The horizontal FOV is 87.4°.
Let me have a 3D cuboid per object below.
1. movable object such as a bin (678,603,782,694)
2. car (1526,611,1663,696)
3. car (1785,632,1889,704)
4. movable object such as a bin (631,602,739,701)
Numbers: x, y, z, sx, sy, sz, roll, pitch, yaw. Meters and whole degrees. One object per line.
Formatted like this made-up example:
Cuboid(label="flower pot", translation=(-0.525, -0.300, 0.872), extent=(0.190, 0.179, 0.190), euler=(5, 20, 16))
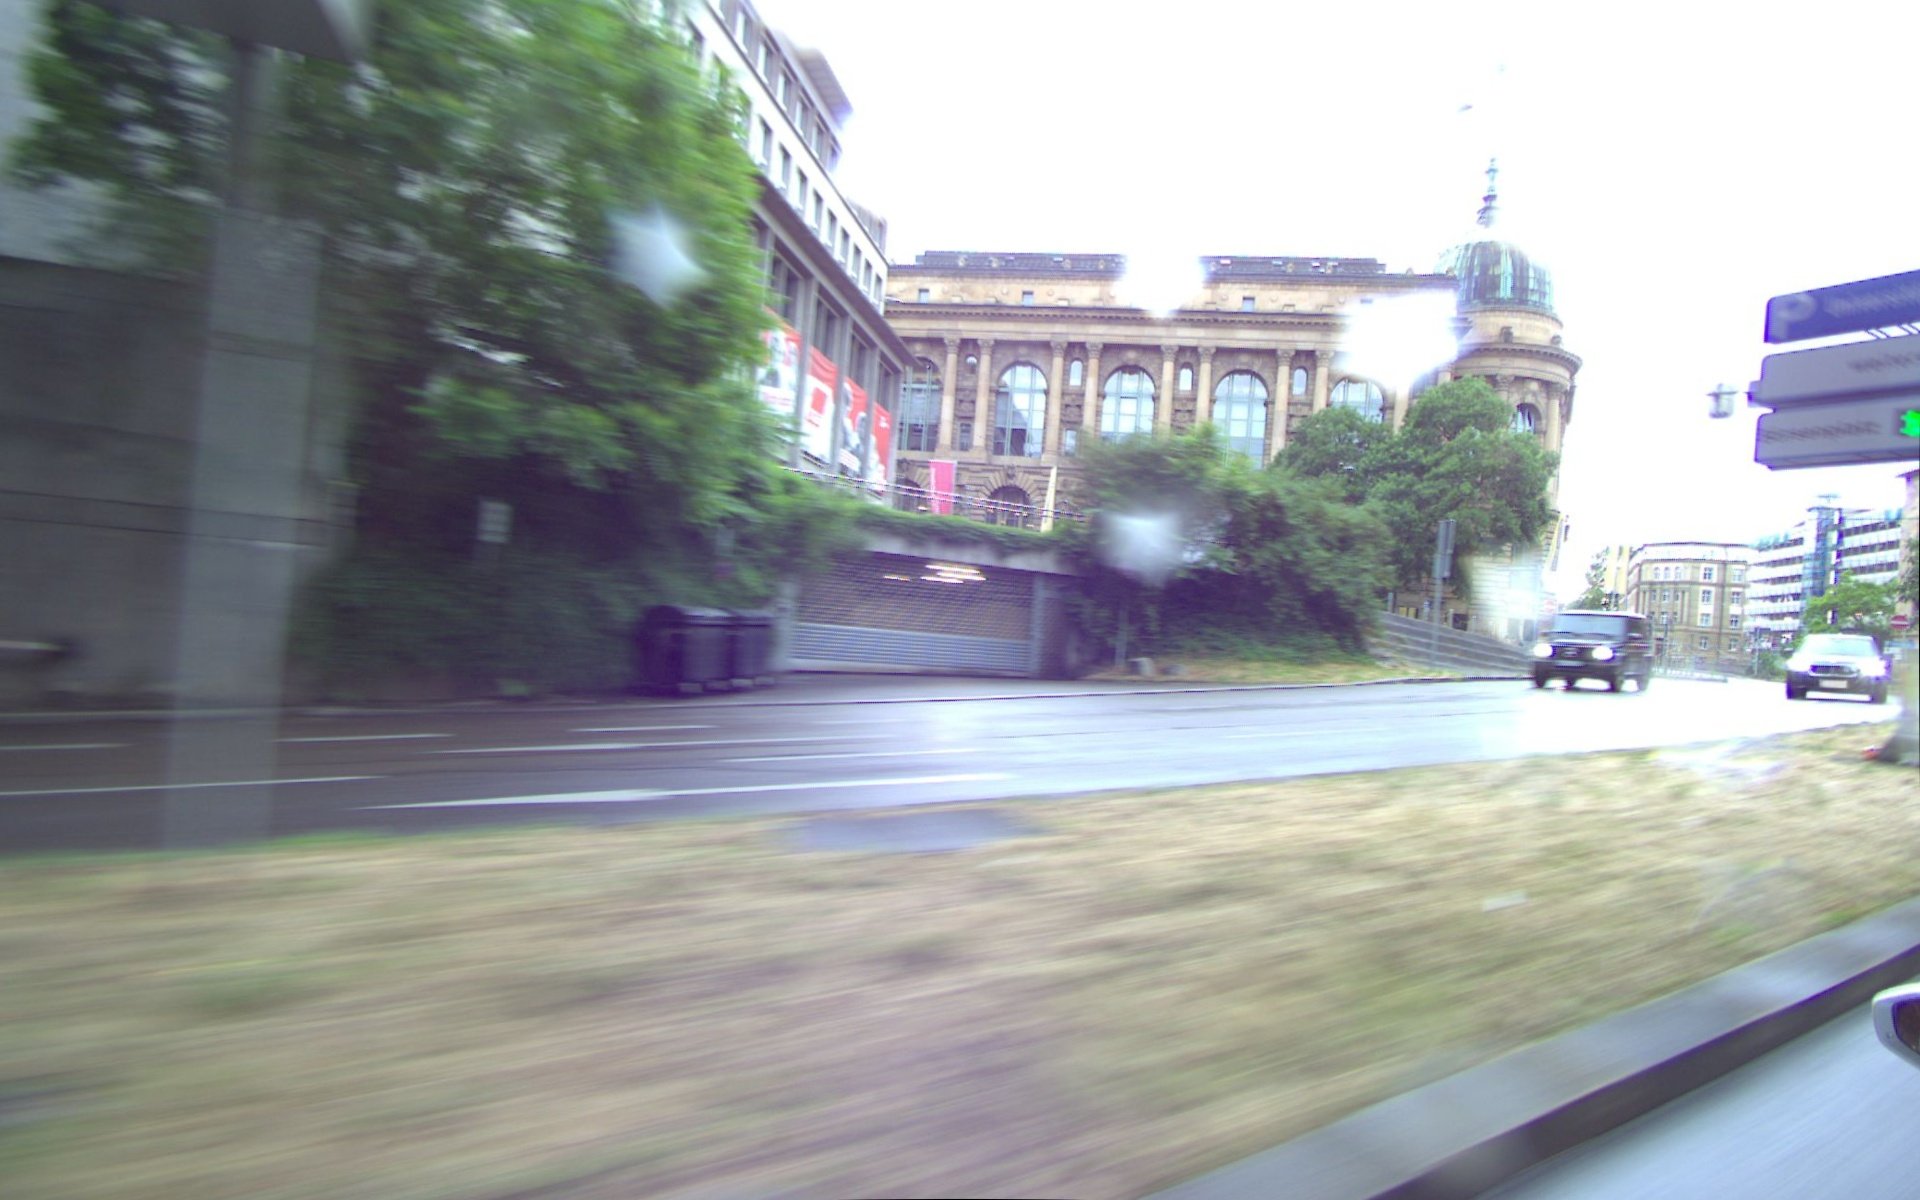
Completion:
Cuboid(label="movable object such as a bin", translation=(-4.029, 0.843, 17.672), extent=(1.270, 1.469, 1.208), euler=(3, -1, 18))
Cuboid(label="car", translation=(16.082, 1.309, 25.365), extent=(4.609, 1.947, 1.820), euler=(2, -2, -43))
Cuboid(label="car", translation=(21.932, 1.636, 25.187), extent=(1.824, 1.609, 4.367), euler=(0, -2, 41))
Cuboid(label="movable object such as a bin", translation=(-4.428, 0.812, 16.264), extent=(1.144, 1.469, 1.341), euler=(3, -1, 10))
